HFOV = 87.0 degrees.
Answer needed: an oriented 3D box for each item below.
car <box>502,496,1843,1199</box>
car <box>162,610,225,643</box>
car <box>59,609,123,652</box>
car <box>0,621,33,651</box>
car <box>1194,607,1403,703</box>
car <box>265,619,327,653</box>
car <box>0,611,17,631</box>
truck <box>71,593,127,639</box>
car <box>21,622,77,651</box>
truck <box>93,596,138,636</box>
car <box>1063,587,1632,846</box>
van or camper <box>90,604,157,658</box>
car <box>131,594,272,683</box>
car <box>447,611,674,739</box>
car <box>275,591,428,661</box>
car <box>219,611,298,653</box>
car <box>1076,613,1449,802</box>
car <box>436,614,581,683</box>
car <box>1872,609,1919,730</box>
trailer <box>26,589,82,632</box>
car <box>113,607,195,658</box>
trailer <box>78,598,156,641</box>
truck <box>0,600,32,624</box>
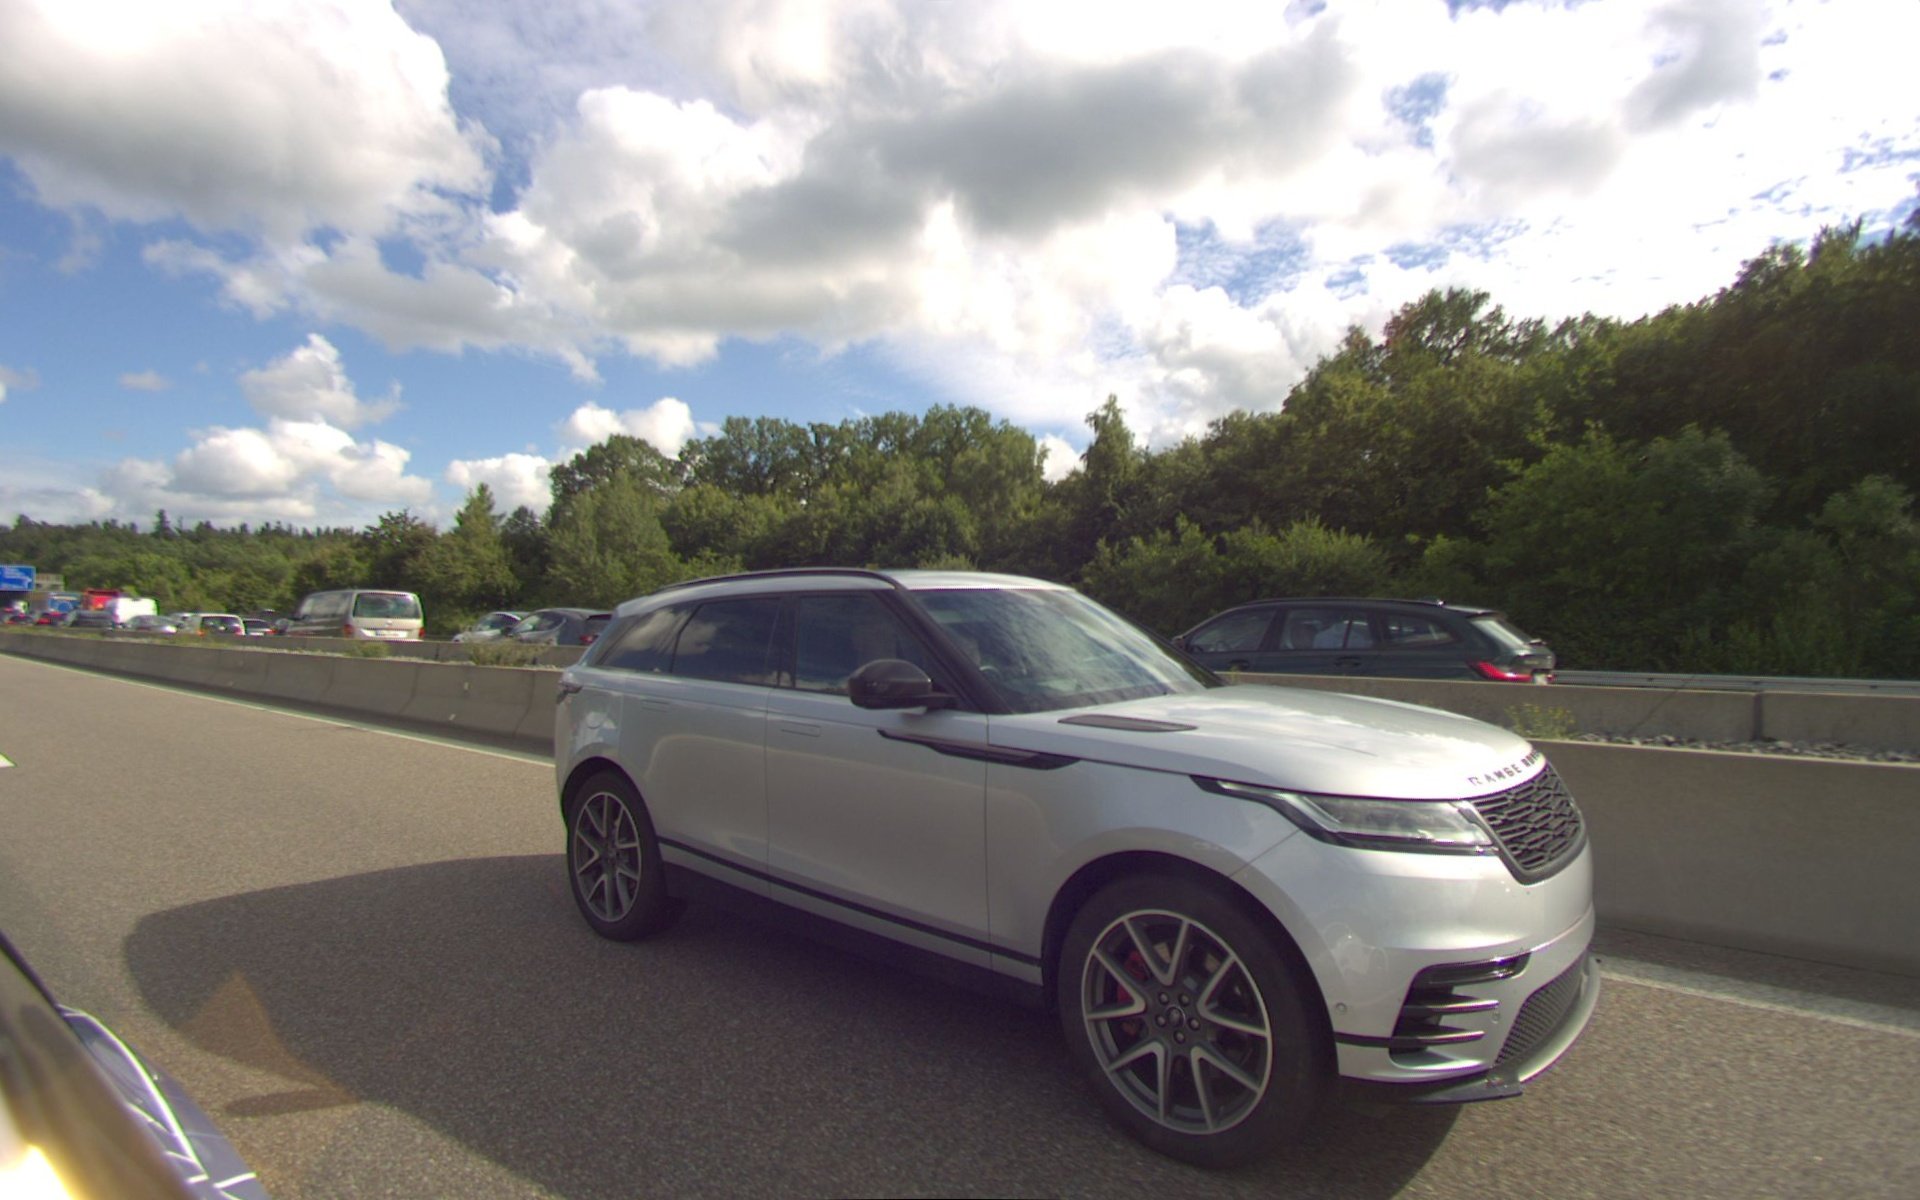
[{"bbox_3d":[0.211,0.640,4.145,5.103,1.619,1.880,0,0,41],"label":"car"},{"bbox_3d":[-40.536,1.373,53.523,4.000,1.608,1.972,1,1,42],"label":"car"},{"bbox_3d":[-42.908,1.493,49.949,4.518,2.029,1.862,-1,-2,42],"label":"car"},{"bbox_3d":[-63.658,2.378,67.894,4.293,1.829,1.669,1,1,40],"label":"car"},{"bbox_3d":[8.457,1.413,25.556,4.458,2.029,1.972,-8,-5,42],"label":"car"},{"bbox_3d":[-48.369,2.602,73.700,5.284,2.143,2.346,1,-3,41],"label":"car"},{"bbox_3d":[-70.551,1.529,73.906,6.228,1.359,1.796,-1,0,40],"label":"car"},{"bbox_3d":[-76.852,1.382,90.271,6.848,3.968,2.748,-1,0,40],"label":"truck"},{"bbox_3d":[-53.833,2.144,59.784,4.286,1.603,1.817,-1,-4,40],"label":"car"},{"bbox_3d":[-90.553,1.688,108.447,5.449,4.181,2.783,0,0,40],"label":"truck"},{"bbox_3d":[3.318,0.784,9.242,4.458,1.772,1.972,1,1,42],"label":"car"},{"bbox_3d":[-51.974,1.870,62.863,6.240,3.196,2.117,-1,0,40],"label":"van or camper"},{"bbox_3d":[-18.134,0.887,24.133,3.999,1.935,1.972,-2,-1,42],"label":"car"},{"bbox_3d":[-7.133,1.173,17.848,4.458,1.919,1.972,0,0,42],"label":"car"},{"bbox_3d":[-15.262,0.614,25.265,4.814,1.584,1.972,-1,-1,42],"label":"car"},{"bbox_3d":[-31.150,1.372,44.891,4.524,1.608,1.972,1,1,42],"label":"car"},{"bbox_3d":[3.961,1.251,13.743,4.458,2.029,1.972,1,1,42],"label":"car"},{"bbox_3d":[-12.721,1.291,28.369,4.761,1.746,1.972,-1,-1,42],"label":"car"},{"bbox_3d":[18.232,1.224,16.872,4.458,2.029,1.972,1,1,42],"label":"car"},{"bbox_3d":[-97.408,0.989,108.698,13.651,4.266,2.743,1,1,41],"label":"trailer"},{"bbox_3d":[-33.641,1.345,42.185,5.090,2.029,1.884,-1,-2,42],"label":"car"},{"bbox_3d":[-71.575,1.668,85.798,14.209,3.361,2.700,-1,-1,40],"label":"trailer"},{"bbox_3d":[-116.970,1.506,125.199,7.945,2.822,2.304,-1,1,41],"label":"truck"}]
